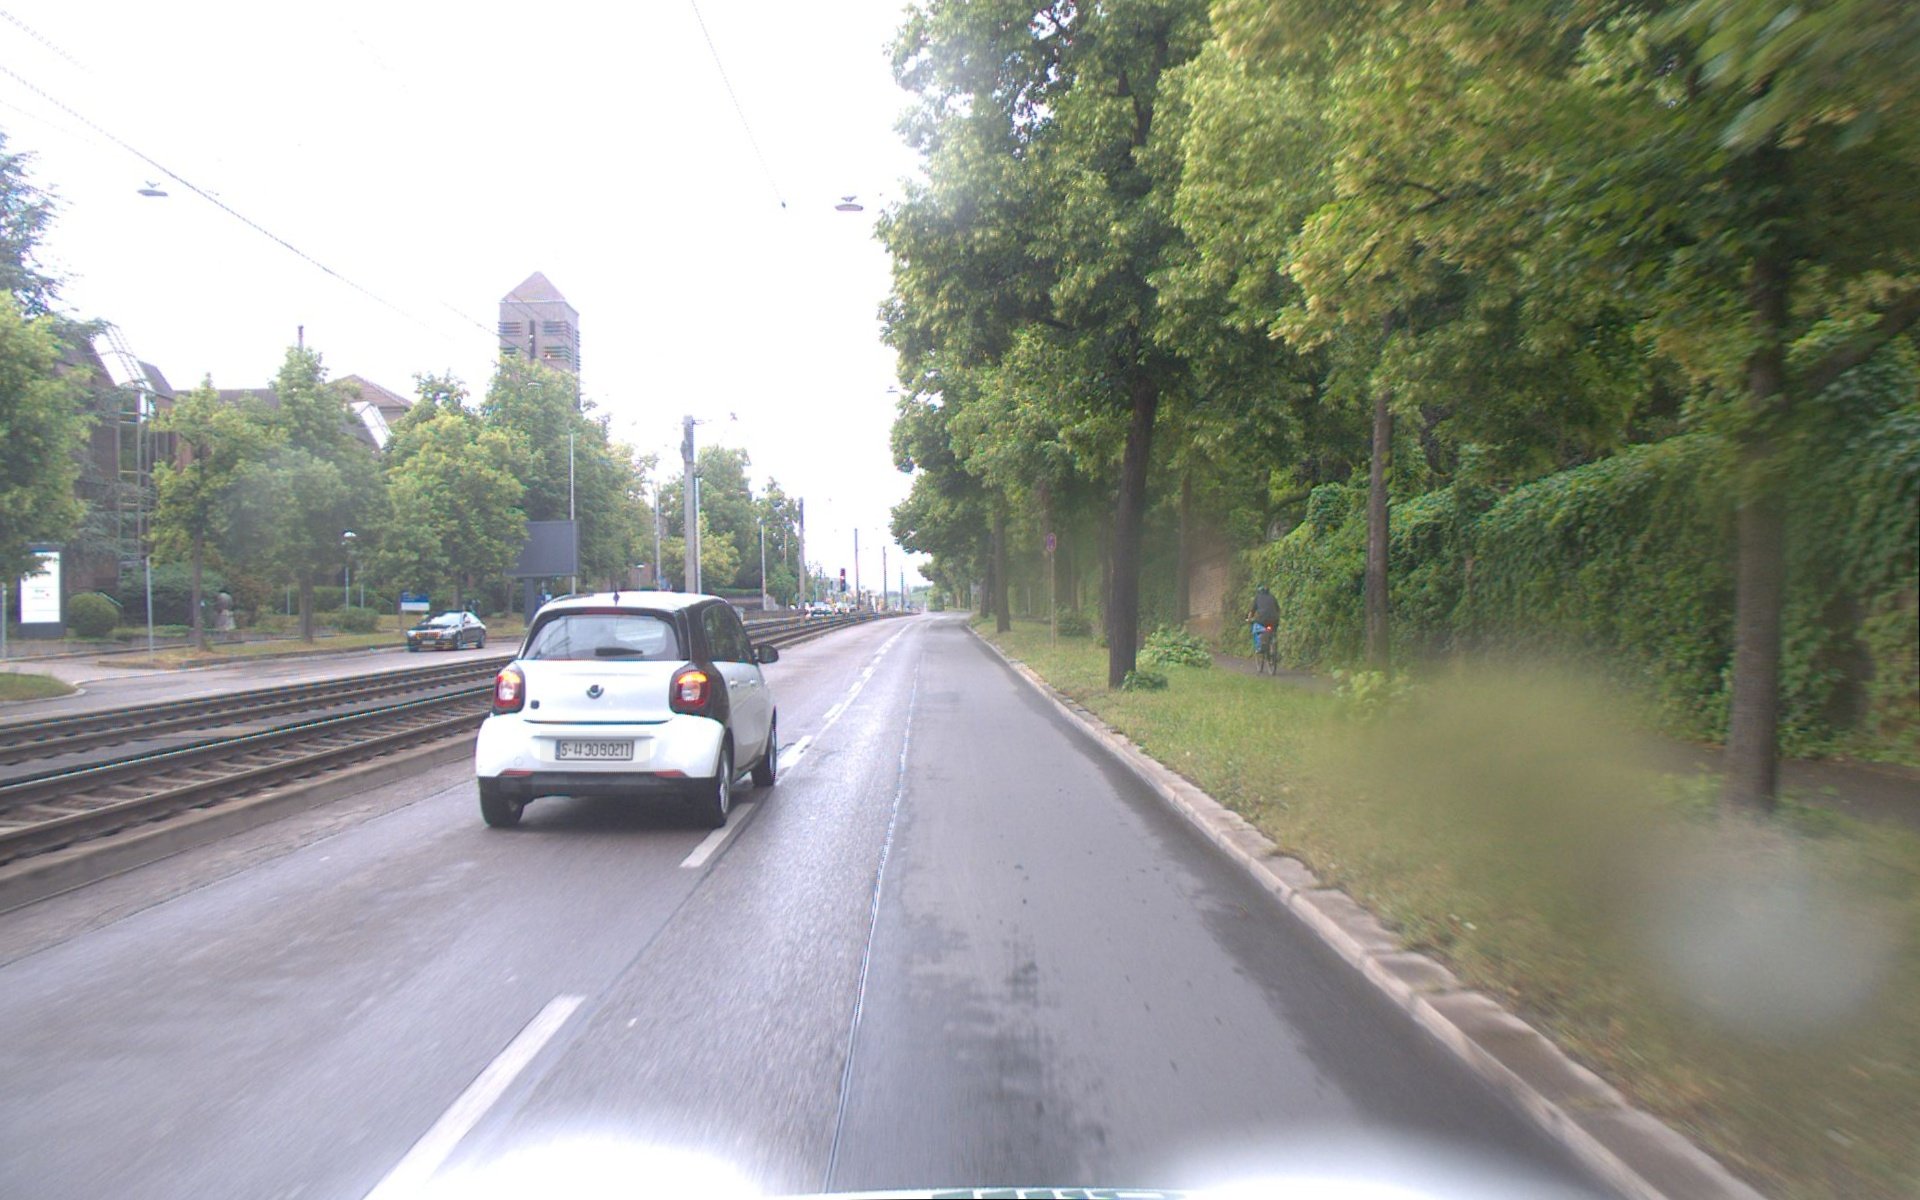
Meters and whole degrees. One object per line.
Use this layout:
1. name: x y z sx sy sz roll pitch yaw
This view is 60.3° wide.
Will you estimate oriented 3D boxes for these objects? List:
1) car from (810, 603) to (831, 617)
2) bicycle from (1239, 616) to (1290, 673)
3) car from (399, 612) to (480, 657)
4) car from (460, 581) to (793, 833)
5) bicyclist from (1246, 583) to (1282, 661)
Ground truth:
1. car: -17.375 1.217 205.715 1.971 1.685 4.618 -1 0 3
2. bicycle: 5.610 0.802 30.573 0.531 0.964 2.550 -1 0 2
3. car: -19.782 1.274 63.049 1.758 1.557 4.620 -1 0 -2
4. car: -2.295 0.677 12.320 1.641 1.557 3.722 -1 0 1
5. bicyclist: 5.593 0.399 30.461 0.524 1.414 0.666 -1 0 2
